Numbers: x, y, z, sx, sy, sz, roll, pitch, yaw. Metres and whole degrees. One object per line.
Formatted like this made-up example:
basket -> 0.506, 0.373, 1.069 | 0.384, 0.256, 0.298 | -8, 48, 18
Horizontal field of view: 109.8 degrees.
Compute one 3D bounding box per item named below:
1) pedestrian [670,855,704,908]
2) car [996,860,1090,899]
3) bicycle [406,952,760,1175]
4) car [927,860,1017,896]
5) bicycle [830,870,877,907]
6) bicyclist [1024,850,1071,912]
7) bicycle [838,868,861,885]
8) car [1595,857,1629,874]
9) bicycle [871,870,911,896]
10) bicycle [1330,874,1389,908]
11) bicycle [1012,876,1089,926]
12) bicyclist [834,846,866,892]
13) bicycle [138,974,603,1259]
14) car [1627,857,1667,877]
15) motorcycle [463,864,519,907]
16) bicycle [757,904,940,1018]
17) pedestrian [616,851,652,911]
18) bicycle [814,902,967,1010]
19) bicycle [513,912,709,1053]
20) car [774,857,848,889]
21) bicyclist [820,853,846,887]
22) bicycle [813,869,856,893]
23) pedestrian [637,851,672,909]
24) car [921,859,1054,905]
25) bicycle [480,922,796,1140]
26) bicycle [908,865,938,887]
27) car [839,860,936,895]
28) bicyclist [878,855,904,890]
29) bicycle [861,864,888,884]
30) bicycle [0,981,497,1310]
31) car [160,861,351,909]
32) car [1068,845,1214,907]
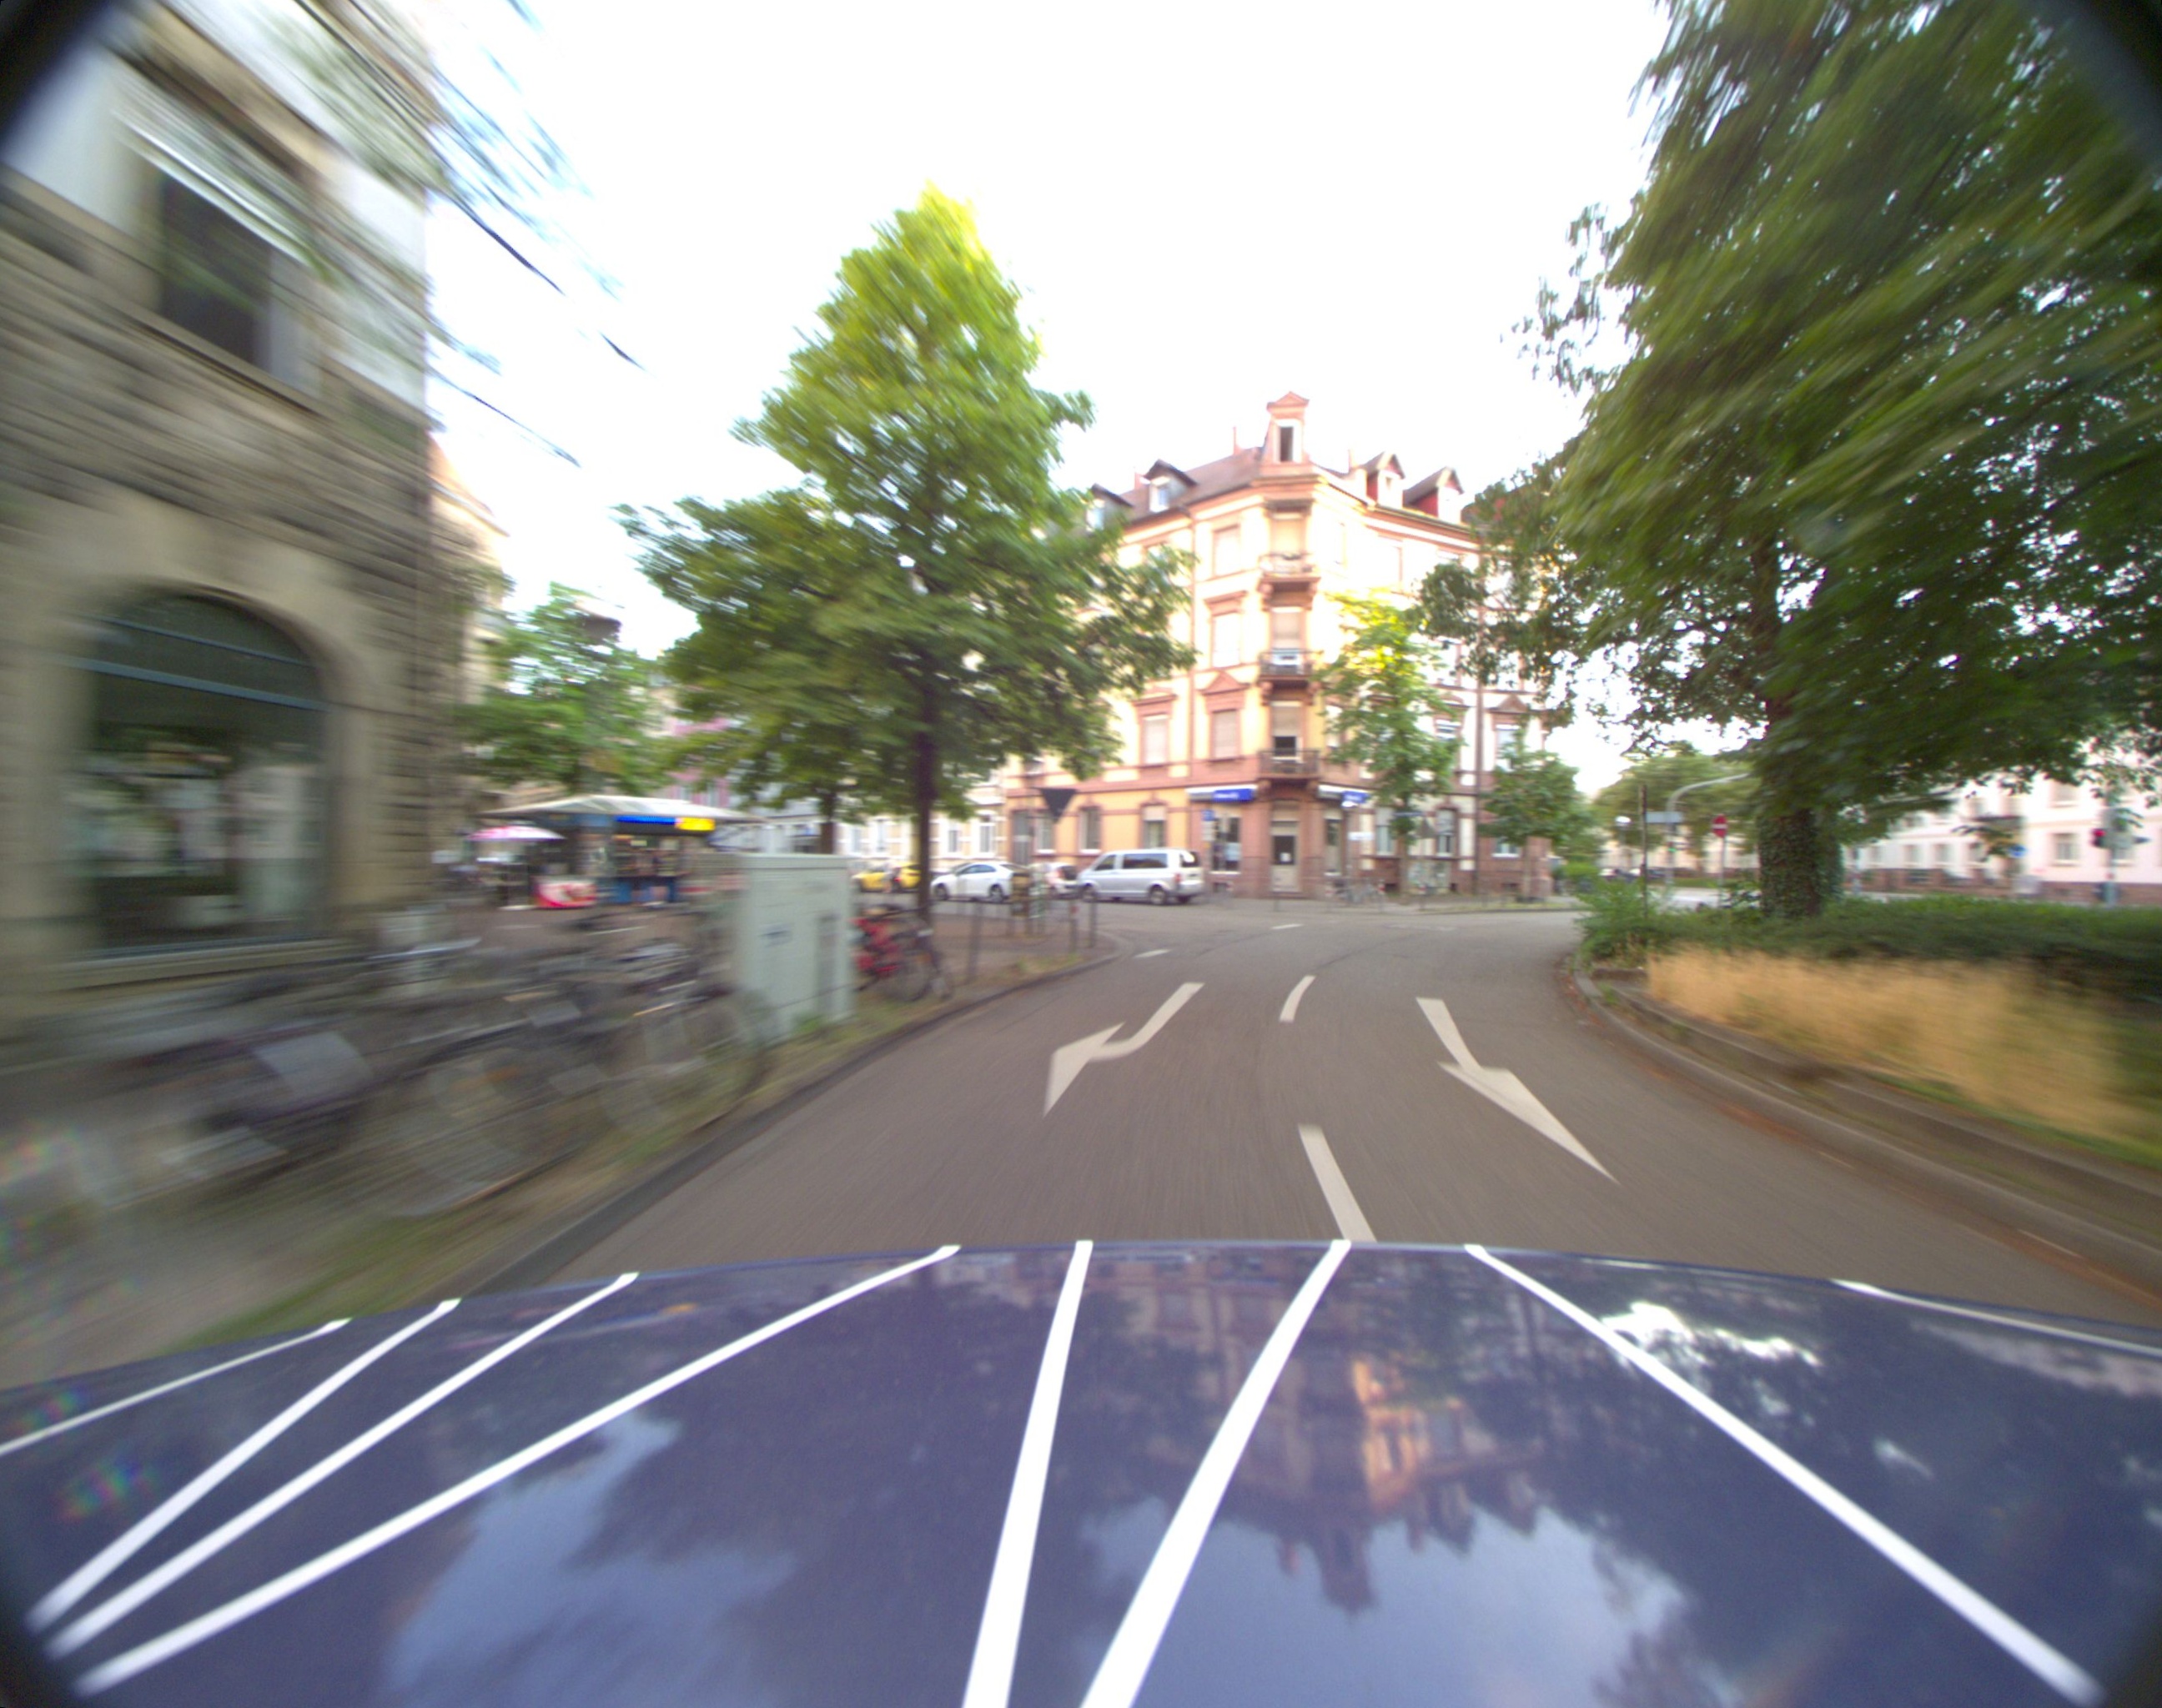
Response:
pedestrian -> -11.540, 0.786, 22.280 | 0.590, 1.530, 0.679 | 1, 0, 8
car -> -1.578, 0.999, 31.094 | 3.603, 1.483, 1.693 | 0, 1, 37
bicycle -> -2.666, 1.089, 4.140 | 1.606, 1.014, 0.555 | 1, 0, 5
car -> -4.834, 1.021, 33.598 | 3.731, 1.483, 1.738 | 0, 1, 34
bicycle -> -7.601, 1.130, 25.330 | 0.688, 1.144, 2.109 | 0, 0, -42
bicyclist -> -0.848, 0.668, 19.111 | 0.688, 1.503, 0.970 | 0, 0, -44
bicycle -> -13.634, 1.328, 44.735 | 1.461, 0.970, 0.402 | 0, -3, 35
car -> 58.714, 1.272, 84.139 | 1.906, 1.839, 4.005 | 1, 0, 16
bicycle -> -8.399, 1.254, 33.529 | 1.803, 1.088, 0.687 | 0, 0, 35
bicycle -> 9.262, 1.216, 25.260 | 1.793, 1.077, 0.561 | 0, 1, 25
bicycle -> -0.799, 1.147, 19.053 | 0.688, 1.144, 2.109 | 0, 0, -44
bicyclist -> -7.732, 0.482, 25.474 | 0.688, 1.503, 0.970 | 0, 0, -41
bicycle -> -2.987, 1.087, 3.259 | 1.606, 1.057, 0.419 | 1, 0, 1
car -> 56.218, 1.262, 75.584 | 1.906, 1.839, 4.005 | 1, 0, 16
motorcycle -> -16.938, 0.876, 21.805 | 1.876, 1.160, 0.872 | 0, -1, 39
bicycle -> -2.427, 1.077, 7.914 | 1.895, 1.033, 0.433 | 1, 0, 17
pedestrian -> -12.391, 0.735, 21.065 | 0.589, 1.627, 0.680 | 1, 0, 37
bicycle -> -2.058, 1.072, 8.191 | 1.604, 1.033, 0.433 | 1, 0, 17
bicycle -> -4.087, 1.065, 6.776 | 0.431, 0.963, 1.728 | 1, 0, 11
car -> -14.447, 0.973, 40.623 | 4.133, 1.584, 1.809 | 0, 2, 39
bicyclist -> -11.574, 0.740, 35.441 | 0.873, 1.574, 0.728 | 1, 0, 31
bicycle -> -11.484, 1.237, 35.389 | 2.042, 1.088, 0.731 | 0, 0, 31
pedestrian -> -12.158, 0.736, 21.669 | 0.590, 1.627, 0.679 | 1, 0, 8
car -> -3.467, 0.967, 27.653 | 4.826, 1.508, 2.004 | 0, 0, 38
bicycle -> -2.629, 1.020, 4.581 | 1.606, 1.141, 0.555 | 1, 0, 5
bicycle -> -8.369, 1.162, 40.163 | 1.858, 1.133, 0.482 | 0, 0, 39
car -> -9.386, 1.073, 36.655 | 4.788, 1.517, 1.848 | 0, 2, 36
bicyclist -> -8.382, 0.796, 33.519 | 0.872, 1.536, 0.680 | 1, 0, 35
bicycle -> -11.613, 1.114, 42.718 | 1.858, 1.133, 0.482 | 0, 0, 39
bicycle -> -3.181, 1.060, 2.884 | 1.606, 1.069, 0.419 | 1, 0, 1
car -> -26.289, 0.923, 24.310 | 1.879, 1.376, 4.046 | 1, 0, 40
car -> 2.127, 0.736, 27.837 | 4.990, 2.045, 2.051 | 0, 1, 39
